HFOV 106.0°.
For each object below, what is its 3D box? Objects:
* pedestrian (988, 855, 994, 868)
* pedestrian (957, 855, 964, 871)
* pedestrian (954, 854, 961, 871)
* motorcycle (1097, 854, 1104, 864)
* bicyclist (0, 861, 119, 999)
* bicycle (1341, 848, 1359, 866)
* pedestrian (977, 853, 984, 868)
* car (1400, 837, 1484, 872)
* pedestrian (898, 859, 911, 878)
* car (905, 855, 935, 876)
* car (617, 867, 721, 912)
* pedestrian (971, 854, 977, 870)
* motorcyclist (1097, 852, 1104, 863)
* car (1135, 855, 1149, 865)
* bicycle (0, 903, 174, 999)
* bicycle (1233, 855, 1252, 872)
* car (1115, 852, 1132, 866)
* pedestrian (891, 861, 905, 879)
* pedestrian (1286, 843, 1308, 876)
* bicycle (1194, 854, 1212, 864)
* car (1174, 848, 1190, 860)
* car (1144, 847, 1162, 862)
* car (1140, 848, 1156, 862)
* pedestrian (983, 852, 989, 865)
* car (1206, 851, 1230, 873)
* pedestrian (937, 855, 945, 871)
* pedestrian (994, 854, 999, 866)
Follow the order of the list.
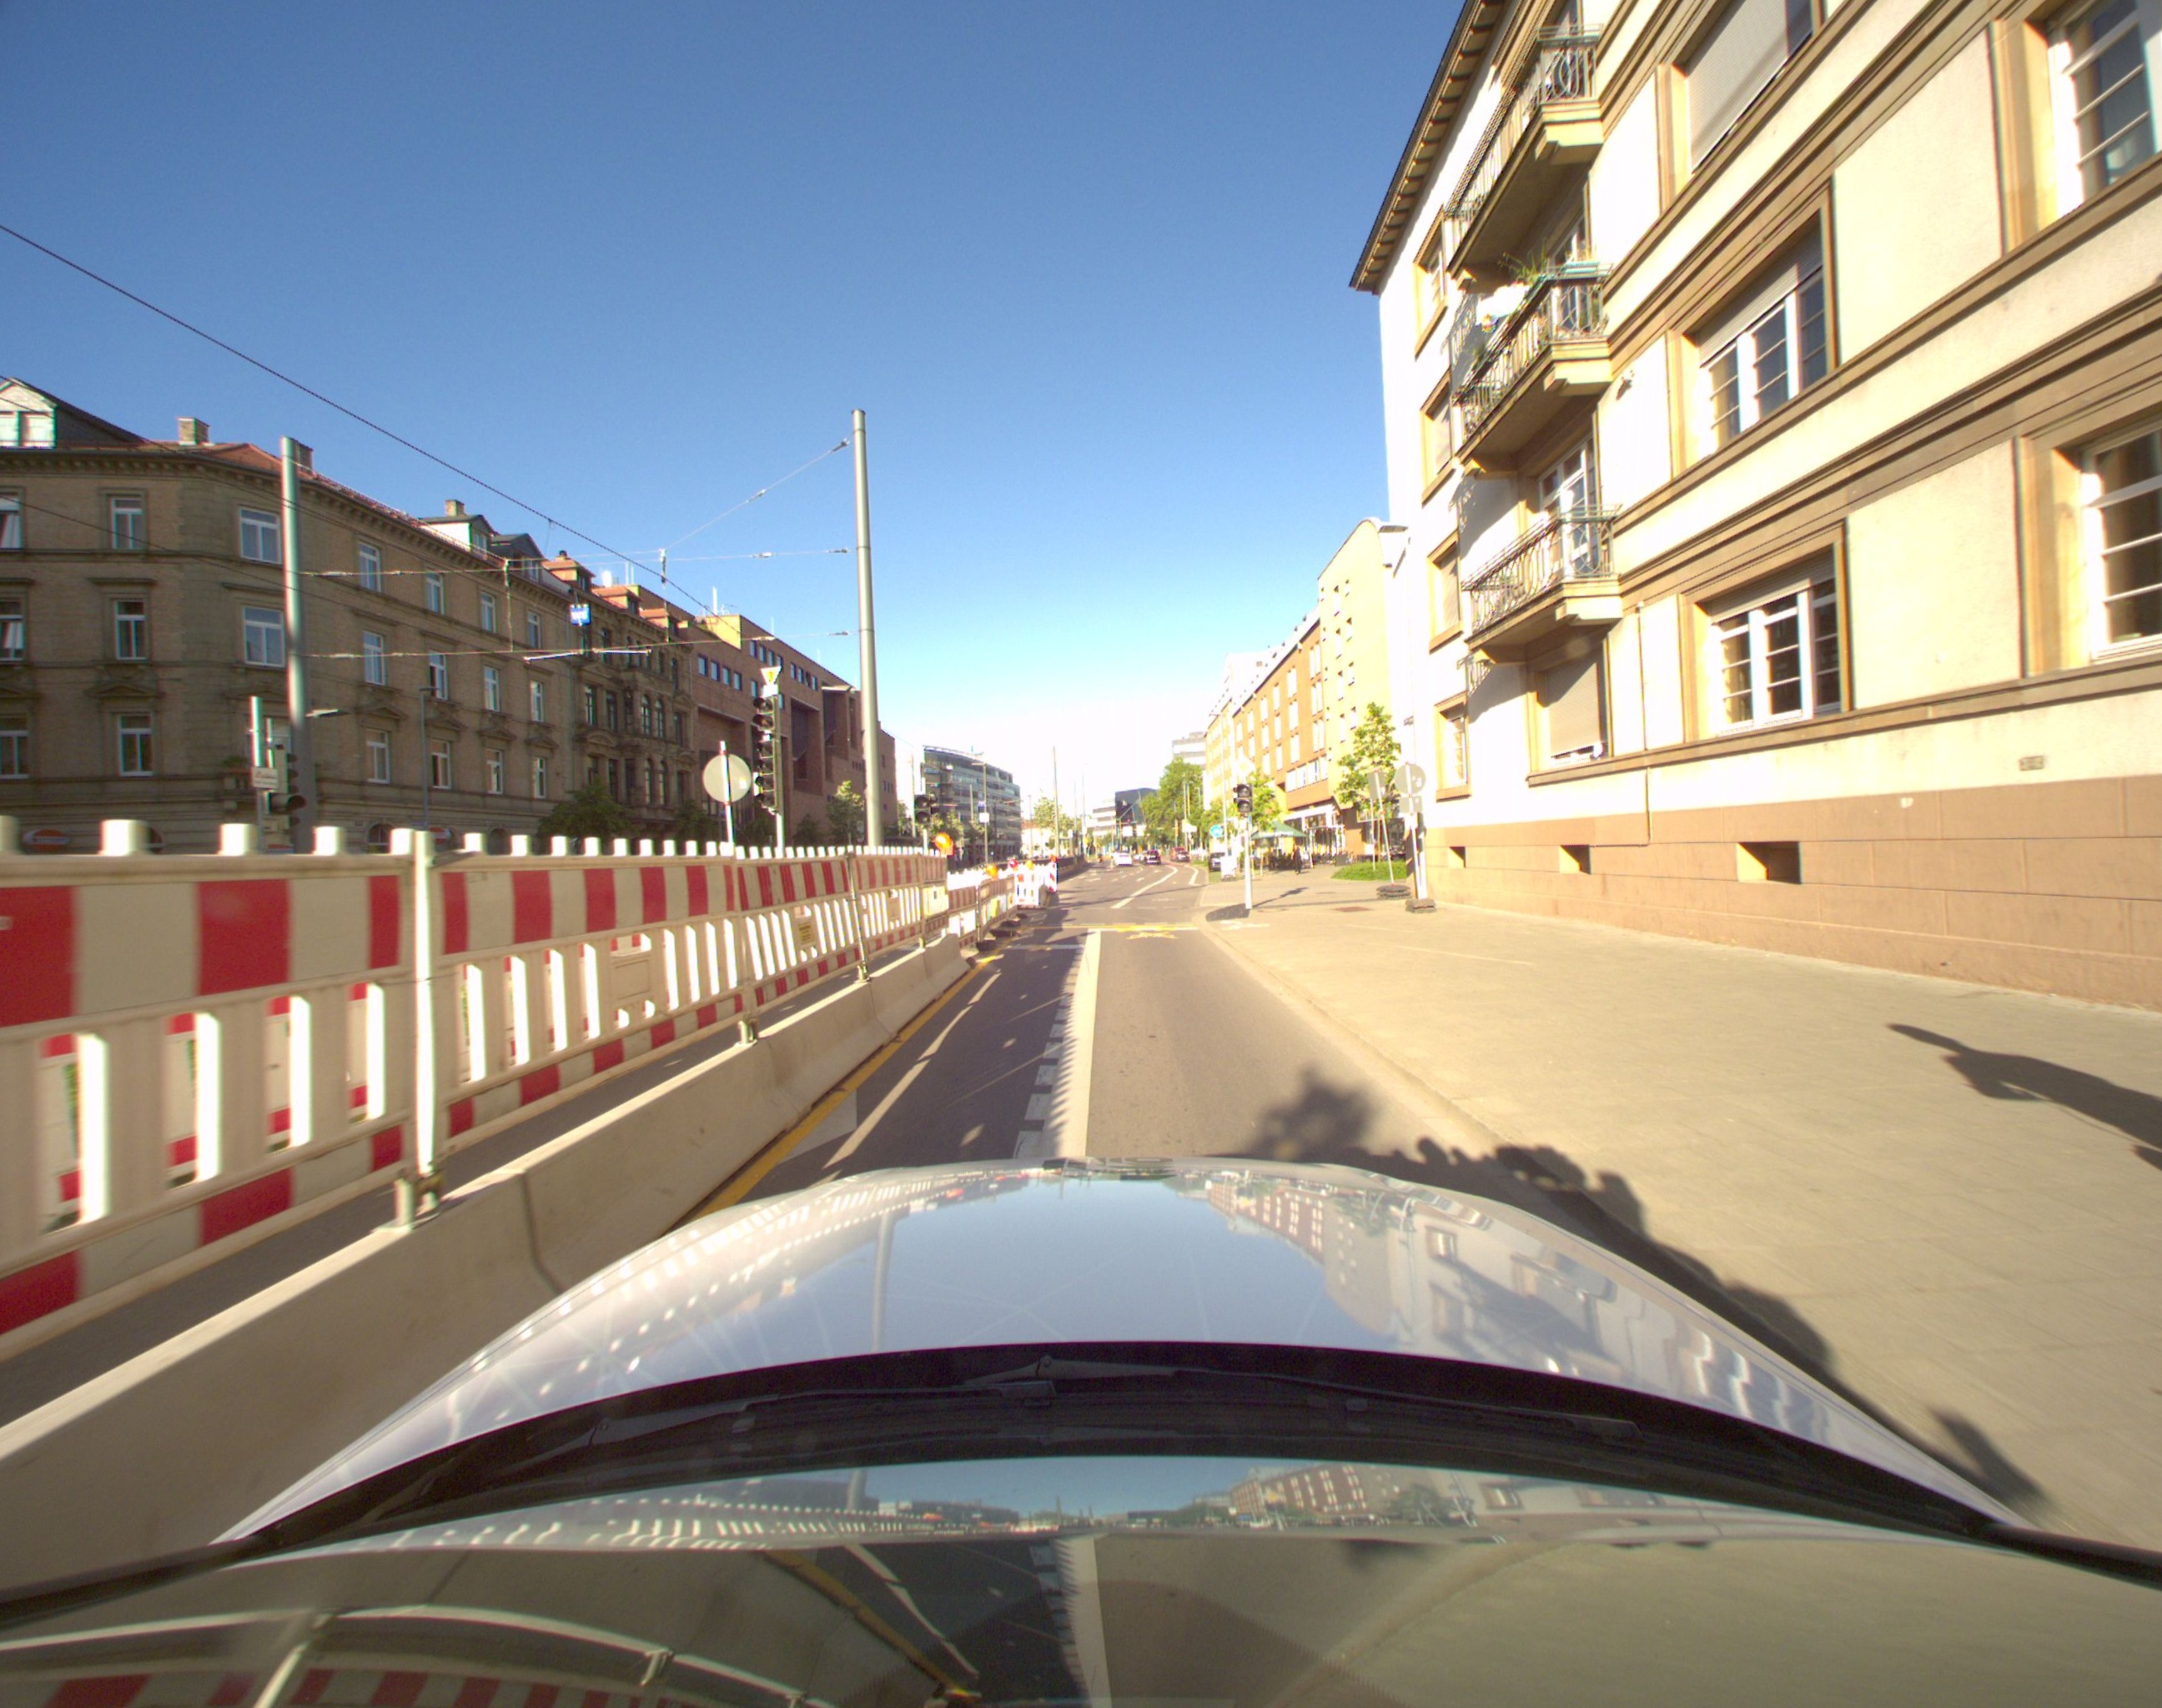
[{"bbox_3d":[-11.132,0.911,100.980,0.638,1.643,0.946,0,0,2],"label":"pedestrian"},{"bbox_3d":[-12.417,0.942,83.993,0.620,1.612,0.616,-1,0,2],"label":"pedestrian"},{"bbox_3d":[-12.579,0.909,82.977,0.620,1.714,0.616,-1,0,2],"label":"pedestrian"},{"bbox_3d":[2.752,0.676,115.406,1.015,1.312,2.916,0,0,3],"label":"motorcycle"},{"bbox_3d":[-14.114,1.008,11.155,0.886,1.773,0.849,-2,-1,-25],"label":"bicyclist"},{"bbox_3d":[18.013,0.188,54.552,0.612,1.169,1.536,-4,0,-1],"label":"bicycle"},{"bbox_3d":[-11.039,0.730,89.333,0.638,1.696,0.541,0,0,2],"label":"pedestrian"},{"bbox_3d":[16.244,0.009,36.819,1.662,1.474,3.824,0,0,-10],"label":"car"},{"bbox_3d":[-12.624,1.041,58.316,0.643,1.309,0.722,-4,0,2],"label":"pedestrian"},{"bbox_3d":[-15.599,1.087,78.999,1.988,1.880,4.581,-2,0,-1],"label":"car"},{"bbox_3d":[-16.822,1.401,33.569,1.789,1.640,4.480,-2,0,3],"label":"car"},{"bbox_3d":[-11.957,0.869,91.020,0.579,1.738,0.616,-1,0,2],"label":"pedestrian"},{"bbox_3d":[2.744,0.502,115.394,1.015,1.603,1.149,0,0,2],"label":"motorcyclist"},{"bbox_3d":[8.956,0.873,119.972,1.844,1.497,4.381,-2,0,2],"label":"car"},{"bbox_3d":[-14.108,1.329,11.182,2.000,1.154,0.849,-2,0,-25],"label":"bicycle"},{"bbox_3d":[11.123,0.663,56.064,0.763,1.081,1.997,-7,-1,-1],"label":"bicycle"},{"bbox_3d":[4.685,0.537,89.673,1.773,1.414,4.821,0,0,2],"label":"car"},{"bbox_3d":[-12.632,1.119,56.275,0.718,1.168,0.722,-4,0,2],"label":"pedestrian"},{"bbox_3d":[11.965,0.286,45.083,0.876,1.763,1.111,-5,-2,24],"label":"pedestrian"},{"bbox_3d":[14.491,0.550,96.656,1.932,1.075,0.556,-3,-1,12],"label":"bicycle"},{"bbox_3d":[13.258,-0.044,107.112,1.839,1.560,4.635,0,0,3],"label":"car"},{"bbox_3d":[8.393,0.043,95.191,1.967,1.759,4.635,0,0,3],"label":"car"},{"bbox_3d":[8.427,0.116,102.752,1.844,1.639,4.381,-2,0,2],"label":"car"},{"bbox_3d":[-12.281,0.593,105.365,0.561,1.609,0.616,-1,0,2],"label":"pedestrian"},{"bbox_3d":[11.075,0.608,66.006,1.711,1.636,4.241,-3,0,8],"label":"car"},{"bbox_3d":[-12.813,0.860,74.661,0.537,1.459,0.643,0,0,2],"label":"pedestrian"},{"bbox_3d":[-12.531,0.907,120.403,0.611,1.817,0.897,-1,0,2],"label":"pedestrian"}]
